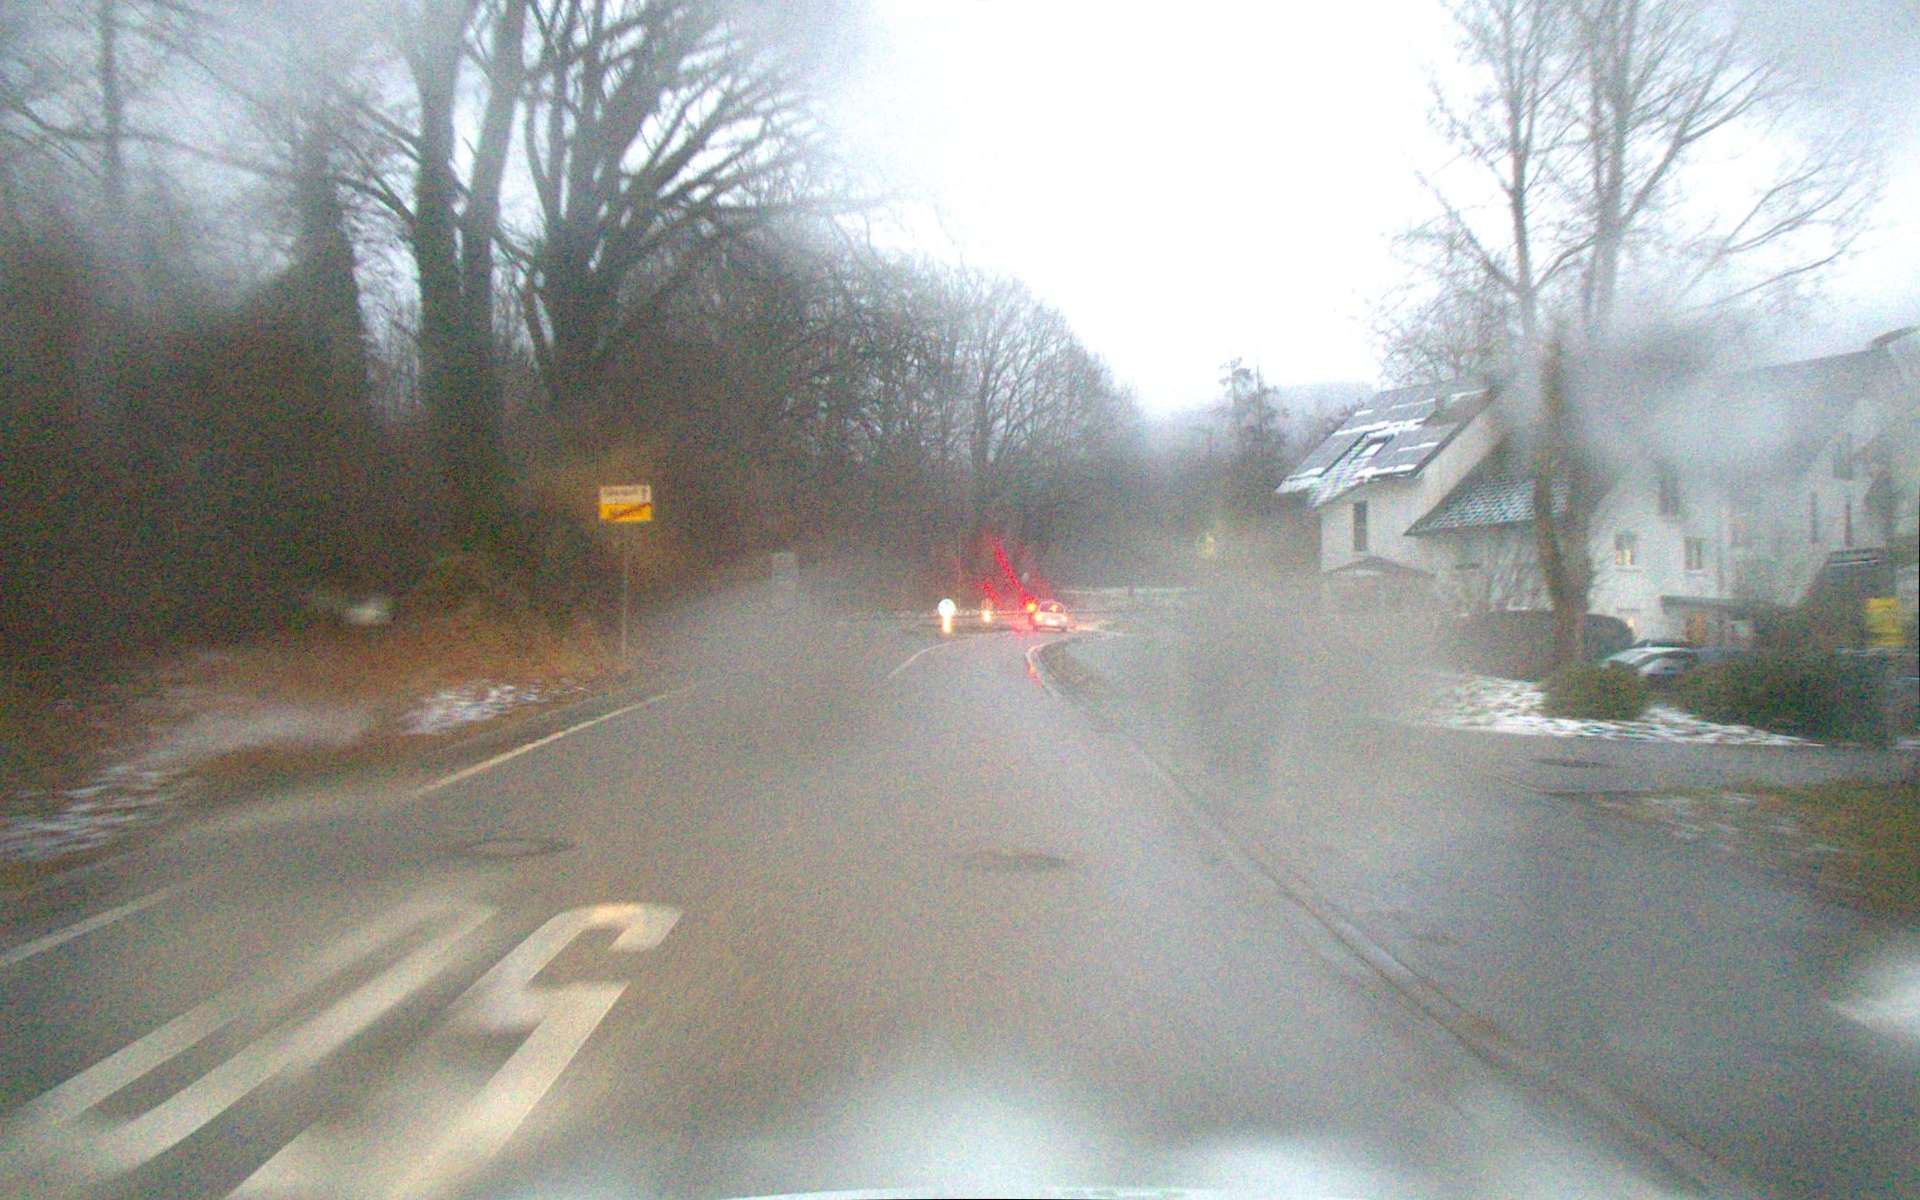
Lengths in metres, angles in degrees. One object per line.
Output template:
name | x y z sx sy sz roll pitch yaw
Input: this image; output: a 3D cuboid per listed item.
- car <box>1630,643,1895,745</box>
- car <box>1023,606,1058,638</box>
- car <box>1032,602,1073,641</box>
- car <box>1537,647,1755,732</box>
car | 13.764 1.598 28.501 3.707 1.625 1.802 1 0 -4
car | 4.557 1.213 93.537 1.892 1.705 4.002 1 0 4
car | 4.524 1.037 80.443 1.892 1.812 4.002 1 0 5
car | 14.006 1.811 33.887 3.707 1.625 1.802 1 0 -4
